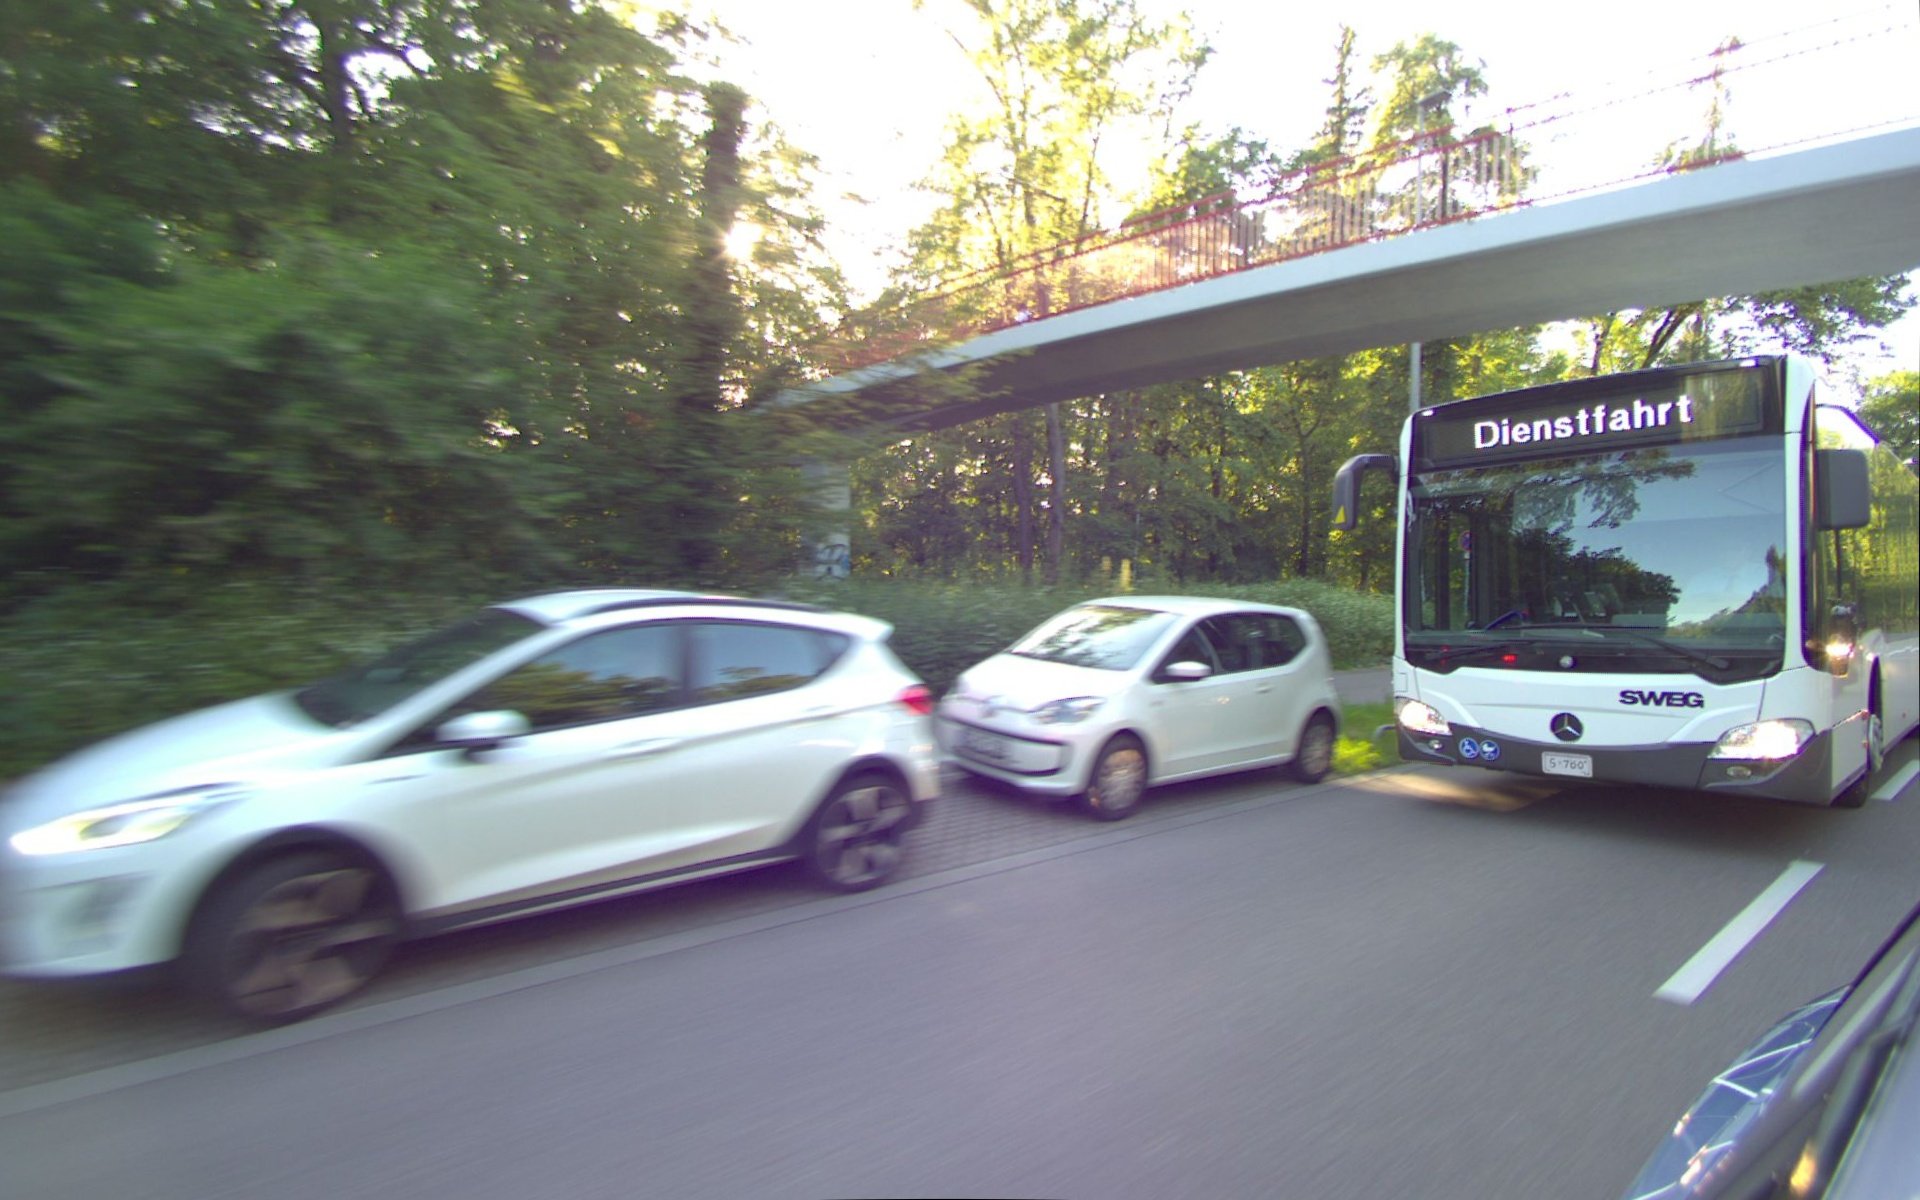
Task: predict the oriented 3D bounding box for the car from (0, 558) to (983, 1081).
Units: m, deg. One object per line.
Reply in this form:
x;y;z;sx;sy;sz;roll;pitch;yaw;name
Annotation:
-1.978;0.623;4.884;4.073;1.514;1.726;0;3;-42;car

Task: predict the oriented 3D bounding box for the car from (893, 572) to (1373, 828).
1.495;0.612;8.118;3.706;1.514;1.728;0;3;-39;car

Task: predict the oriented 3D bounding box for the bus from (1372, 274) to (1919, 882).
8.345;-0.115;10.565;12.071;3.263;2.707;0;0;-43;bus

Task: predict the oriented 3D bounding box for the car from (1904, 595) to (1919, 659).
26.316;0.678;26.814;1.856;1.638;3.936;0;0;44;car
